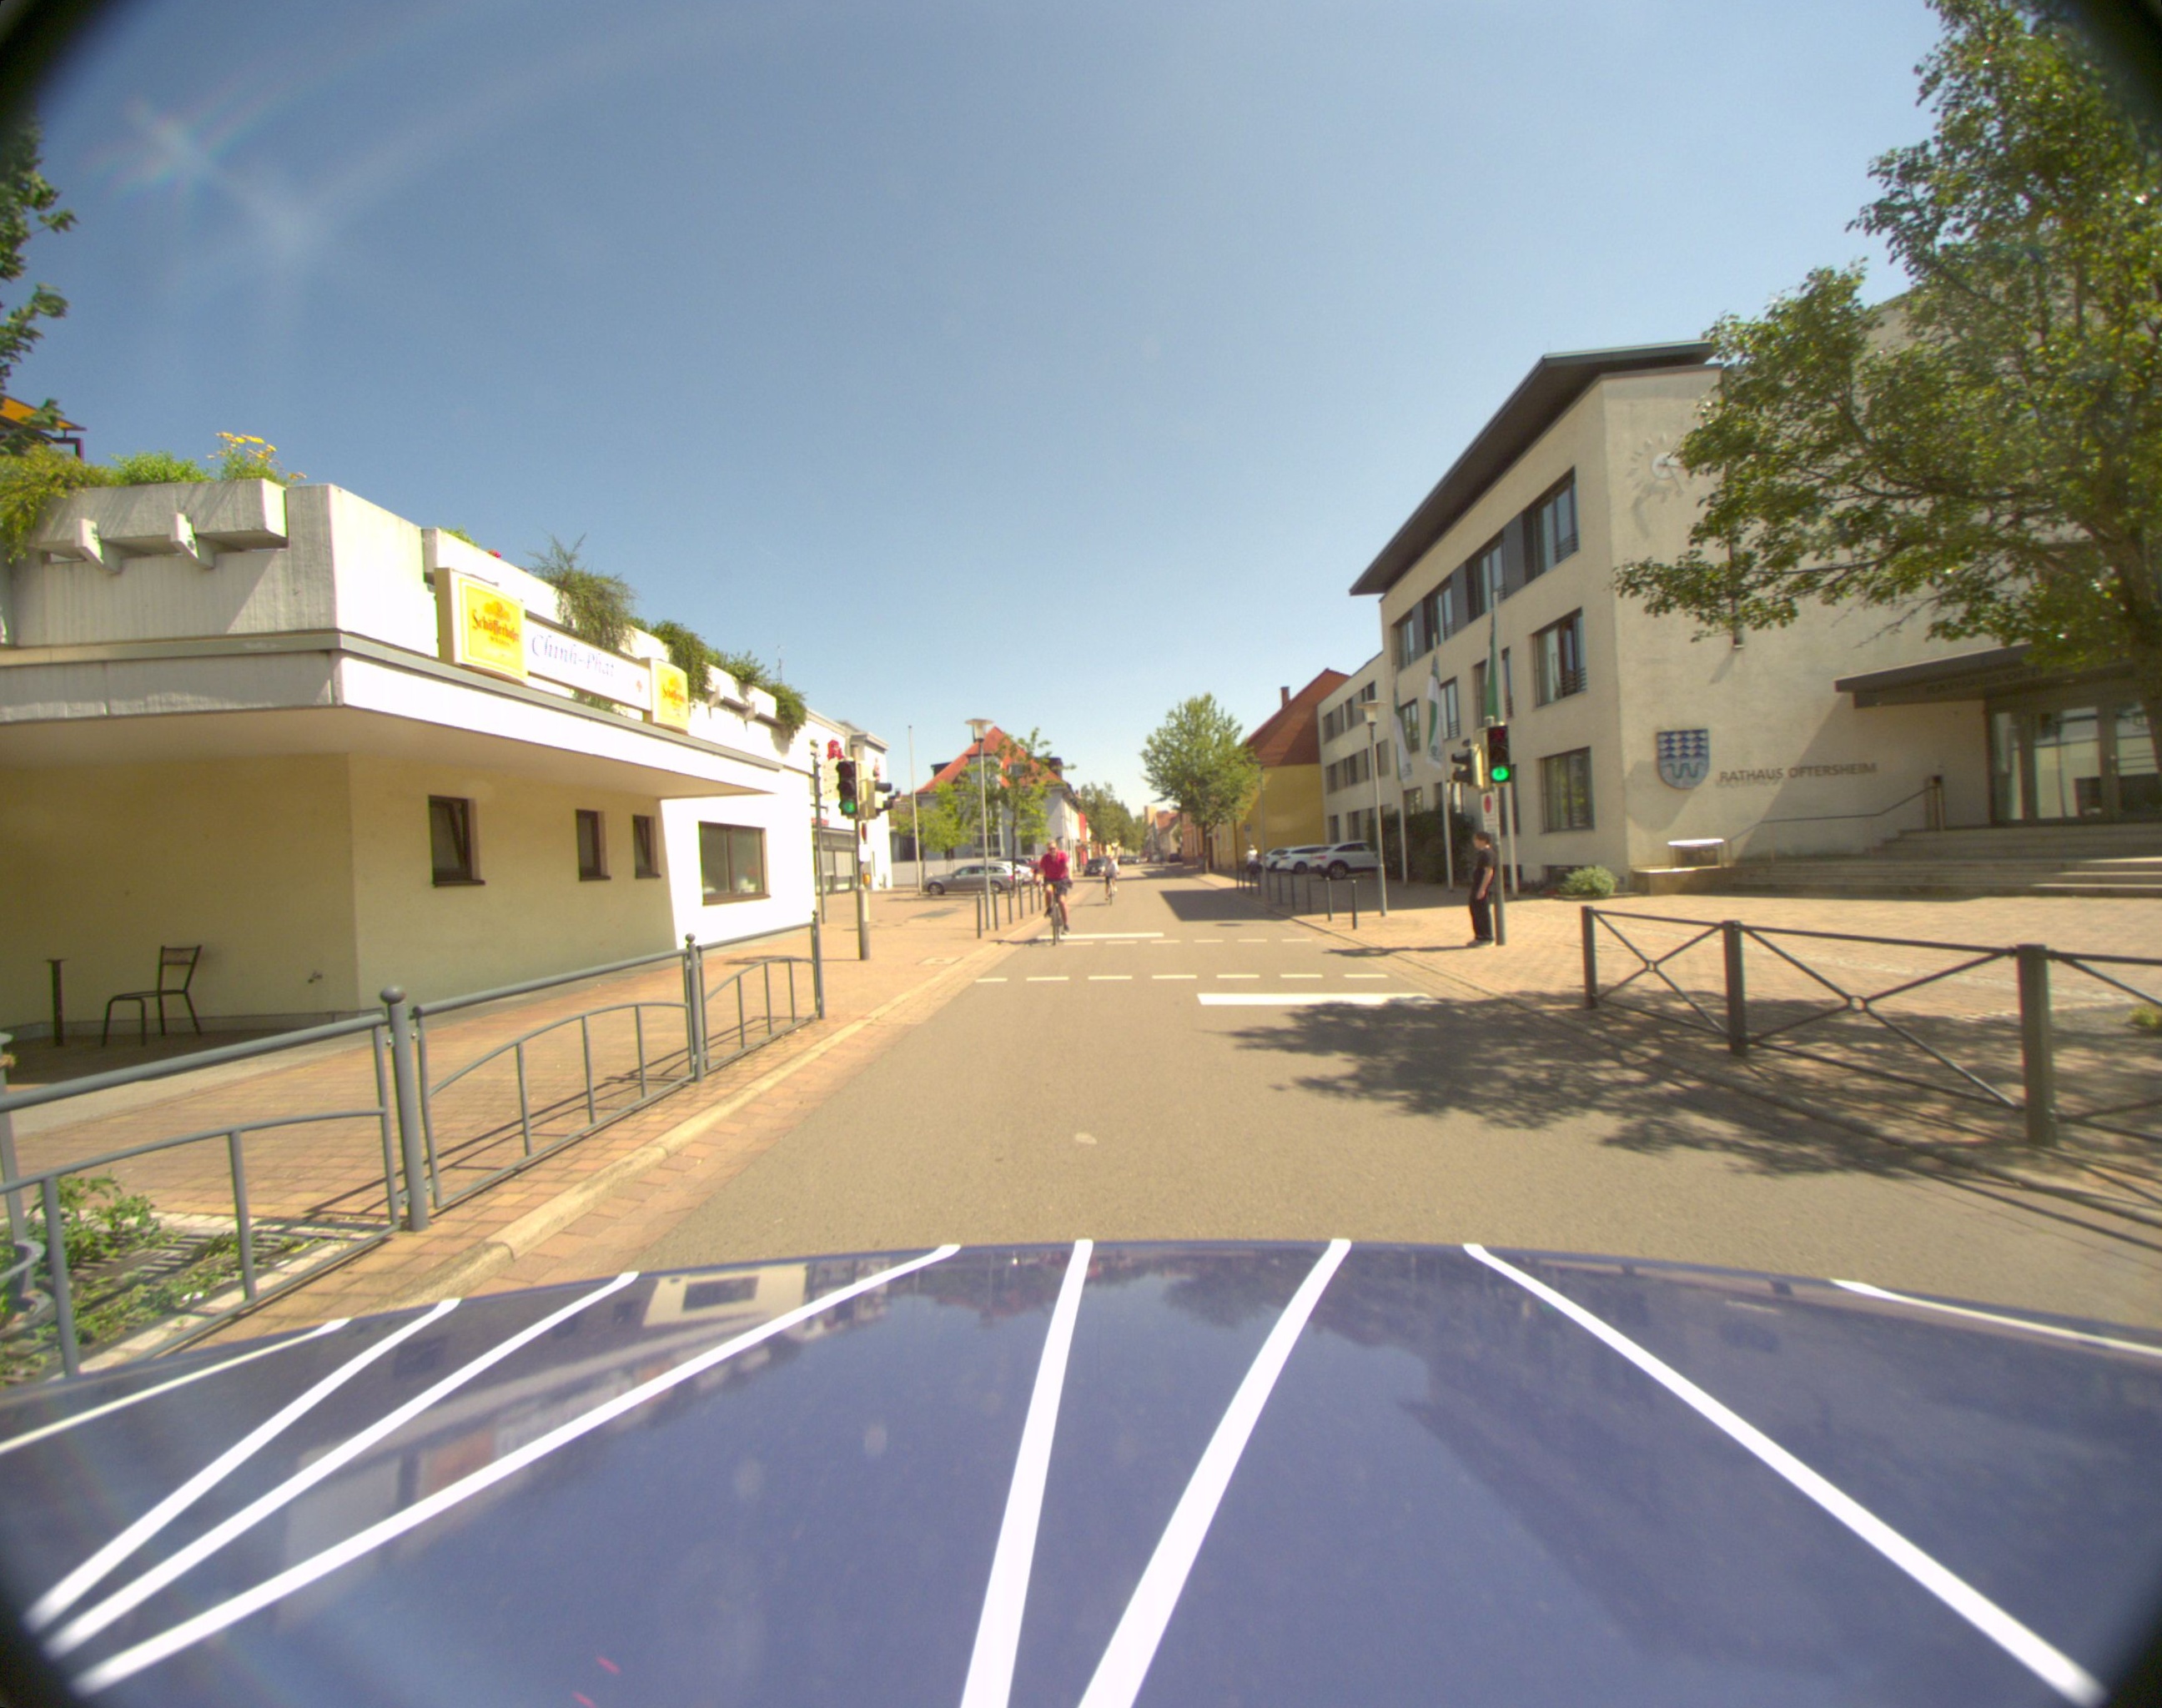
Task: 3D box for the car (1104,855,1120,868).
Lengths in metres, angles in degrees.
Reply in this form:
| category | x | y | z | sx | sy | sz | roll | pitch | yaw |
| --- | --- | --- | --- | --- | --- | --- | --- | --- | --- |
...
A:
| category | x | y | z | sx | sy | sz | roll | pitch | yaw |
| --- | --- | --- | --- | --- | --- | --- | --- | --- | --- |
| car | 3.314 | 0.825 | 81.397 | 1.529 | 1.298 | 3.250 | -1 | 0 | -1 |

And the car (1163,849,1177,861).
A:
| category | x | y | z | sx | sy | sz | roll | pitch | yaw |
| --- | --- | --- | --- | --- | --- | --- | --- | --- | --- |
| car | 13.895 | 0.094 | 118.681 | 1.825 | 1.805 | 4.001 | -2 | 0 | 4 |

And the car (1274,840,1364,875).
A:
| category | x | y | z | sx | sy | sz | roll | pitch | yaw |
| --- | --- | --- | --- | --- | --- | --- | --- | --- | --- |
| car | 12.691 | 0.177 | 40.678 | 4.322 | 1.470 | 1.514 | -5 | 0 | 5 |

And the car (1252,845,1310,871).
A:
| category | x | y | z | sx | sy | sz | roll | pitch | yaw |
| --- | --- | --- | --- | --- | --- | --- | --- | --- | --- |
| car | 12.645 | 0.241 | 48.110 | 3.257 | 1.393 | 1.375 | -4 | 0 | 3 |

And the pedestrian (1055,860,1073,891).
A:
| category | x | y | z | sx | sy | sz | roll | pitch | yaw |
| --- | --- | --- | --- | --- | --- | --- | --- | --- | --- |
| pedestrian | -0.838 | 1.080 | 37.986 | 0.512 | 1.507 | 1.049 | -2 | 0 | 16 |

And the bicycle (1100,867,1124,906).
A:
| category | x | y | z | sx | sy | sz | roll | pitch | yaw |
| --- | --- | --- | --- | --- | --- | --- | --- | --- | --- |
| bicycle | 1.019 | 1.092 | 25.686 | 0.689 | 1.182 | 1.799 | -4 | 0 | 1 |

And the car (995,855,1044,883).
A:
| category | x | y | z | sx | sy | sz | roll | pitch | yaw |
| --- | --- | --- | --- | --- | --- | --- | --- | --- | --- |
| car | -3.959 | 0.963 | 49.486 | 3.040 | 1.727 | 1.345 | -1 | 0 | -1 |

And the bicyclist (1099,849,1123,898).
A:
| category | x | y | z | sx | sy | sz | roll | pitch | yaw |
| --- | --- | --- | --- | --- | --- | --- | --- | --- | --- |
| bicyclist | 0.999 | 0.654 | 25.712 | 0.702 | 1.572 | 0.878 | -4 | 1 | 2 |

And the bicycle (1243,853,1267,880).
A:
| category | x | y | z | sx | sy | sz | roll | pitch | yaw |
| --- | --- | --- | --- | --- | --- | --- | --- | --- | --- |
| bicycle | 8.653 | 0.608 | 37.801 | 0.710 | 1.245 | 1.972 | -4 | 0 | 2 |

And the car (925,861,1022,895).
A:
| category | x | y | z | sx | sy | sz | roll | pitch | yaw |
| --- | --- | --- | --- | --- | --- | --- | --- | --- | --- |
| car | -5.126 | 1.154 | 36.705 | 4.444 | 1.457 | 1.690 | -1 | 1 | -1 |

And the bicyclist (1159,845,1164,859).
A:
| category | x | y | z | sx | sy | sz | roll | pitch | yaw |
| --- | --- | --- | --- | --- | --- | --- | --- | --- | --- |
| bicyclist | 9.930 | -0.236 | 93.331 | 0.538 | 1.630 | 0.551 | -2 | 0 | 3 |

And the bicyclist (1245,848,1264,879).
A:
| category | x | y | z | sx | sy | sz | roll | pitch | yaw |
| --- | --- | --- | --- | --- | --- | --- | --- | --- | --- |
| bicyclist | 8.644 | 0.464 | 37.913 | 0.716 | 1.497 | 0.871 | -2 | 0 | 2 |

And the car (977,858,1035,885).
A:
| category | x | y | z | sx | sy | sz | roll | pitch | yaw |
| --- | --- | --- | --- | --- | --- | --- | --- | --- | --- |
| car | -4.640 | 1.084 | 47.390 | 3.429 | 1.543 | 1.490 | -2 | 0 | 0 |

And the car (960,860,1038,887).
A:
| category | x | y | z | sx | sy | sz | roll | pitch | yaw |
| --- | --- | --- | --- | --- | --- | --- | --- | --- | --- |
| car | -4.790 | 1.144 | 44.857 | 4.445 | 1.434 | 1.656 | -1 | 0 | -3 |

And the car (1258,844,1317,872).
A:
| category | x | y | z | sx | sy | sz | roll | pitch | yaw |
| --- | --- | --- | --- | --- | --- | --- | --- | --- | --- |
| car | 12.433 | 0.233 | 45.908 | 3.138 | 1.442 | 1.643 | -4 | 0 | 5 |

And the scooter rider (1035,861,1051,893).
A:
| category | x | y | z | sx | sy | sz | roll | pitch | yaw |
| --- | --- | --- | --- | --- | --- | --- | --- | --- | --- |
| scooter rider | -1.636 | 0.998 | 32.758 | 0.462 | 1.317 | 1.133 | -2 | 0 | 6 |

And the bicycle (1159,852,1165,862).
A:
| category | x | y | z | sx | sy | sz | roll | pitch | yaw |
| --- | --- | --- | --- | --- | --- | --- | --- | --- | --- |
| bicycle | 9.981 | 0.356 | 93.267 | 0.594 | 1.182 | 1.725 | -3 | 1 | 3 |

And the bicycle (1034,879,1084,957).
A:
| category | x | y | z | sx | sy | sz | roll | pitch | yaw |
| --- | --- | --- | --- | --- | --- | --- | --- | --- | --- |
| bicycle | -0.375 | 1.121 | 13.897 | 0.738 | 1.182 | 1.971 | -4 | 0 | 1 |

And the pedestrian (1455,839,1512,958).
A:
| category | x | y | z | sx | sy | sz | roll | pitch | yaw |
| --- | --- | --- | --- | --- | --- | --- | --- | --- | --- |
| pedestrian | 5.672 | 0.611 | 10.706 | 0.548 | 1.609 | 0.558 | -2 | 2 | 39 |

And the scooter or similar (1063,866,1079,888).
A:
| category | x | y | z | sx | sy | sz | roll | pitch | yaw |
| --- | --- | --- | --- | --- | --- | --- | --- | --- | --- |
| scooter or similar | -0.519 | 1.173 | 39.042 | 0.505 | 1.112 | 0.910 | -2 | 0 | 17 |

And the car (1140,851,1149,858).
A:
| category | x | y | z | sx | sy | sz | roll | pitch | yaw |
| --- | --- | --- | --- | --- | --- | --- | --- | --- | --- |
| car | 15.212 | 0.170 | 183.435 | 1.998 | 1.696 | 4.001 | -2 | 0 | 4 |

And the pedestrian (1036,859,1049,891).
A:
| category | x | y | z | sx | sy | sz | roll | pitch | yaw |
| --- | --- | --- | --- | --- | --- | --- | --- | --- | --- |
| pedestrian | -1.862 | 1.005 | 36.738 | 0.531 | 1.492 | 0.724 | -2 | 0 | 2 |

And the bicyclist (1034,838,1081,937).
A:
| category | x | y | z | sx | sy | sz | roll | pitch | yaw |
| --- | --- | --- | --- | --- | --- | --- | --- | --- | --- |
| bicyclist | -0.412 | 0.592 | 13.806 | 0.702 | 1.707 | 0.760 | -4 | 1 | 2 |

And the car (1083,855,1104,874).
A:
| category | x | y | z | sx | sy | sz | roll | pitch | yaw |
| --- | --- | --- | --- | --- | --- | --- | --- | --- | --- |
| car | 0.992 | 0.851 | 62.122 | 1.529 | 1.444 | 3.521 | -2 | 0 | -1 |

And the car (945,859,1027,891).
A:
| category | x | y | z | sx | sy | sz | roll | pitch | yaw |
| --- | --- | --- | --- | --- | --- | --- | --- | --- | --- |
| car | -4.907 | 1.070 | 39.565 | 4.045 | 1.550 | 1.712 | -1 | 0 | -2 |

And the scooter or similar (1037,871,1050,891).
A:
| category | x | y | z | sx | sy | sz | roll | pitch | yaw |
| --- | --- | --- | --- | --- | --- | --- | --- | --- | --- |
| scooter or similar | -1.835 | 1.342 | 37.281 | 0.536 | 0.940 | 0.547 | -2 | 0 | 2 |

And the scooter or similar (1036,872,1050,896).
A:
| category | x | y | z | sx | sy | sz | roll | pitch | yaw |
| --- | --- | --- | --- | --- | --- | --- | --- | --- | --- |
| scooter or similar | -1.621 | 1.304 | 32.764 | 0.411 | 0.960 | 0.960 | -2 | 2 | 7 |

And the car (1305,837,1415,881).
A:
| category | x | y | z | sx | sy | sz | roll | pitch | yaw |
| --- | --- | --- | --- | --- | --- | --- | --- | --- | --- |
| car | 11.835 | 0.219 | 32.451 | 3.996 | 1.538 | 1.749 | -4 | 0 | 3 |
